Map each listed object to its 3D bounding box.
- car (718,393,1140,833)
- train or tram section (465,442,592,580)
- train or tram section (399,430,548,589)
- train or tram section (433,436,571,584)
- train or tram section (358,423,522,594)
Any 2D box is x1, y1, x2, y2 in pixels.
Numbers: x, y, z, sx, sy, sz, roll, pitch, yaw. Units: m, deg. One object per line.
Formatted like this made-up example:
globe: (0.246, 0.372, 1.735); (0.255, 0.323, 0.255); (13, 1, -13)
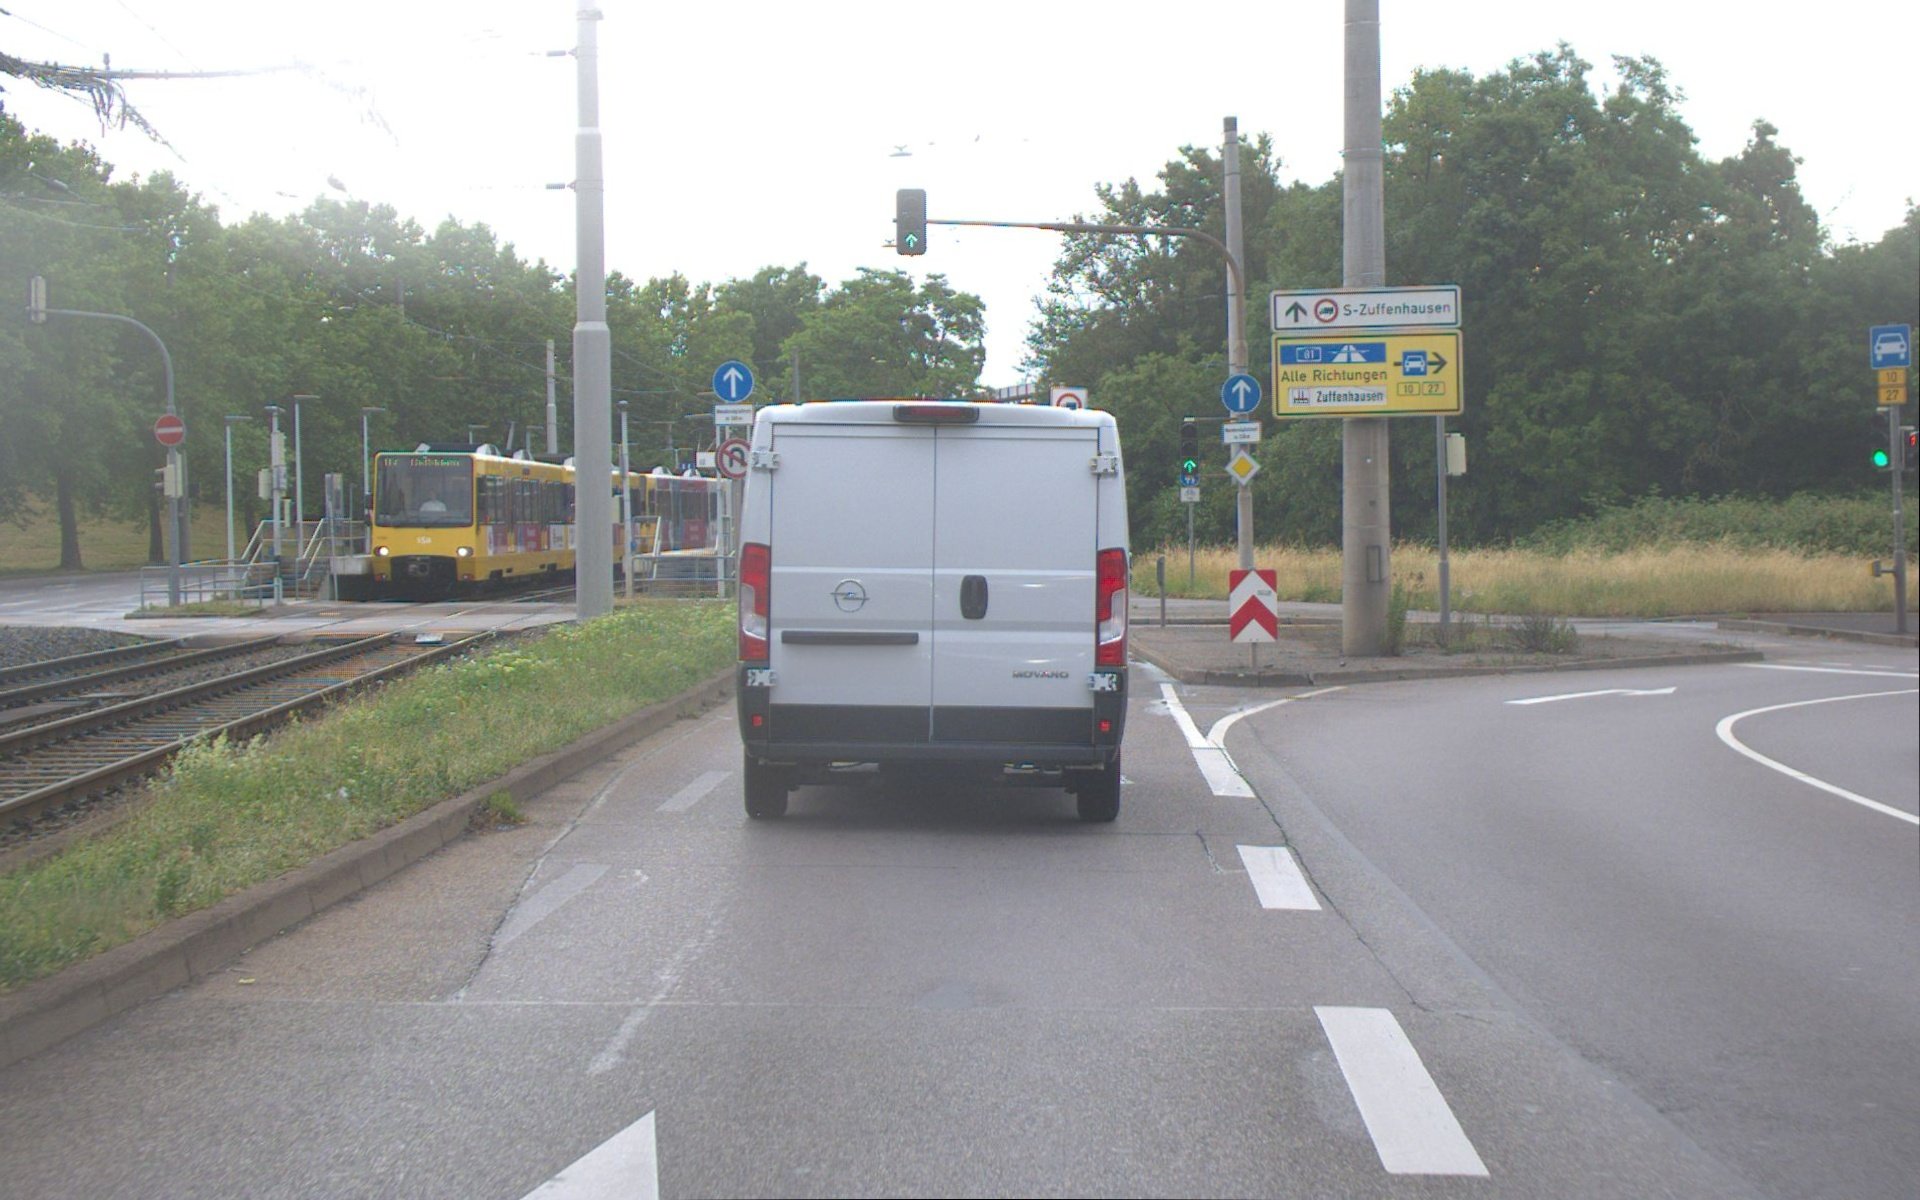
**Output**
car: (-0.265, -0.012, 19.894); (2.090, 2.189, 5.062); (1, 2, -3)
train or tram section: (-12.832, -2.651, 102.742); (2.928, 3.919, 7.006); (2, 1, -1)
train or tram section: (-12.690, -2.364, 90.182); (2.928, 3.919, 7.006); (2, 1, -1)
train or tram section: (-12.772, -2.507, 96.427); (2.928, 3.919, 7.006); (2, 1, -1)
train or tram section: (-12.590, -2.216, 83.735); (2.928, 3.919, 7.006); (2, 1, -1)
